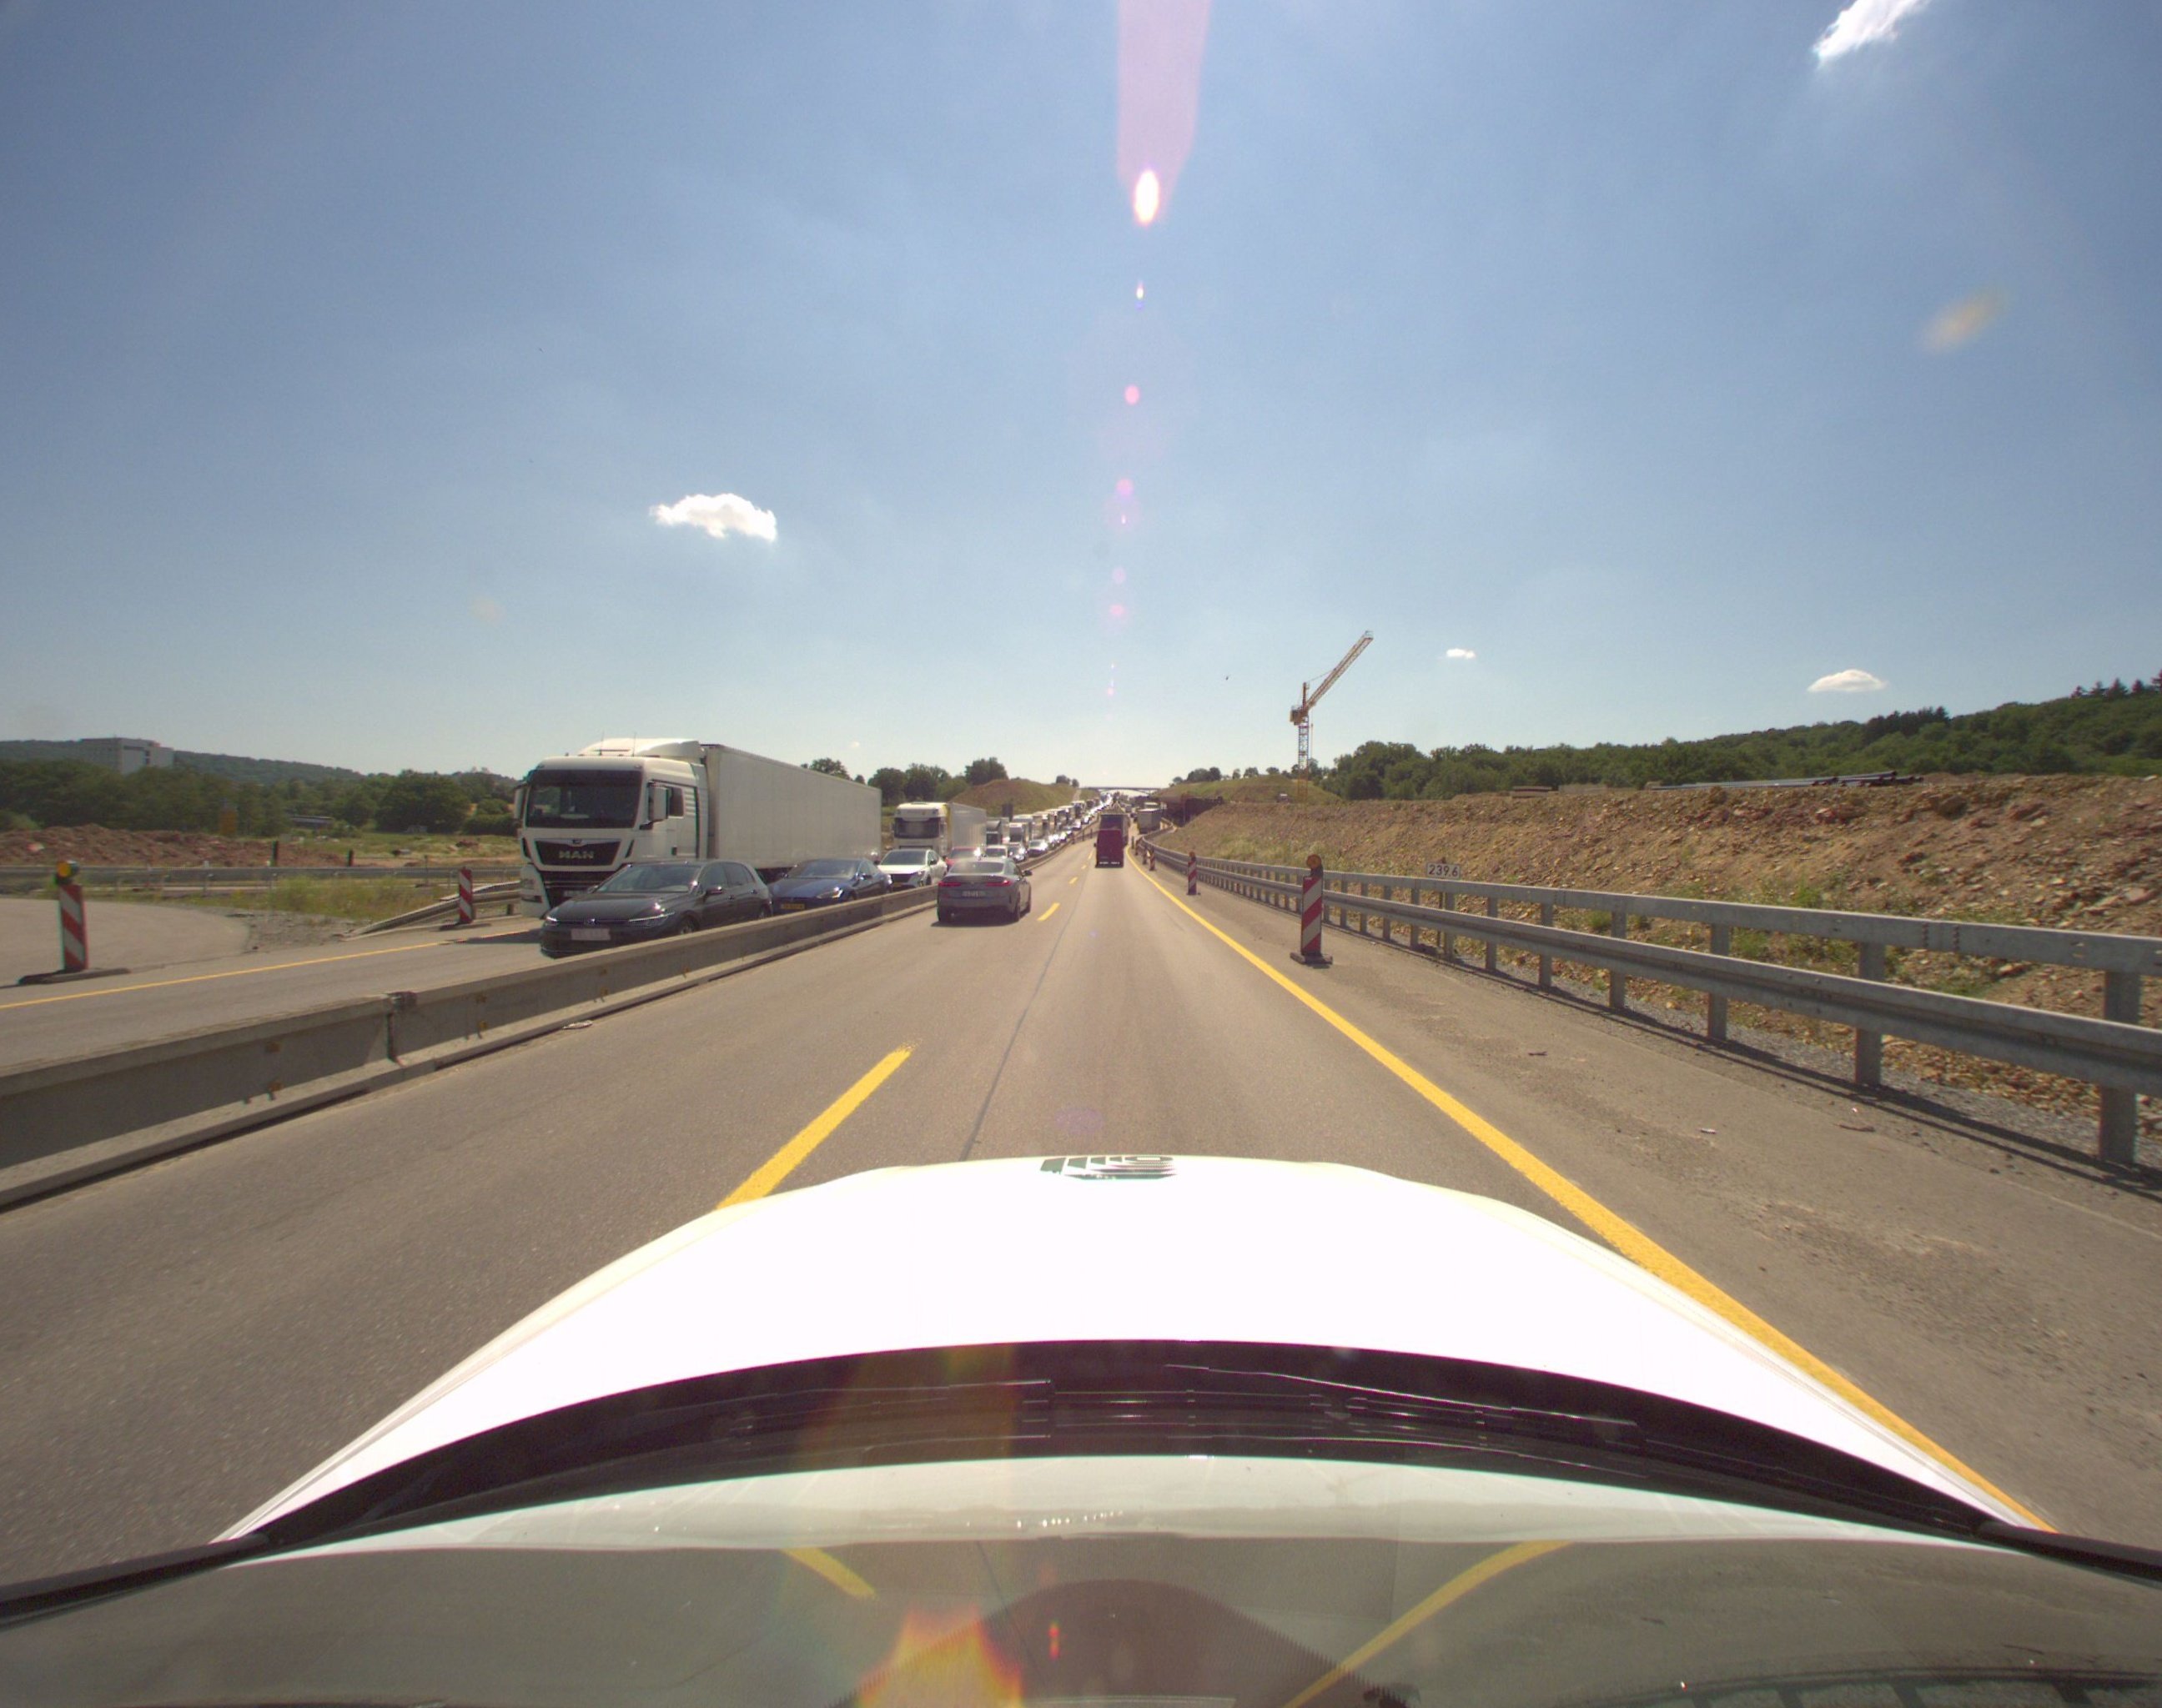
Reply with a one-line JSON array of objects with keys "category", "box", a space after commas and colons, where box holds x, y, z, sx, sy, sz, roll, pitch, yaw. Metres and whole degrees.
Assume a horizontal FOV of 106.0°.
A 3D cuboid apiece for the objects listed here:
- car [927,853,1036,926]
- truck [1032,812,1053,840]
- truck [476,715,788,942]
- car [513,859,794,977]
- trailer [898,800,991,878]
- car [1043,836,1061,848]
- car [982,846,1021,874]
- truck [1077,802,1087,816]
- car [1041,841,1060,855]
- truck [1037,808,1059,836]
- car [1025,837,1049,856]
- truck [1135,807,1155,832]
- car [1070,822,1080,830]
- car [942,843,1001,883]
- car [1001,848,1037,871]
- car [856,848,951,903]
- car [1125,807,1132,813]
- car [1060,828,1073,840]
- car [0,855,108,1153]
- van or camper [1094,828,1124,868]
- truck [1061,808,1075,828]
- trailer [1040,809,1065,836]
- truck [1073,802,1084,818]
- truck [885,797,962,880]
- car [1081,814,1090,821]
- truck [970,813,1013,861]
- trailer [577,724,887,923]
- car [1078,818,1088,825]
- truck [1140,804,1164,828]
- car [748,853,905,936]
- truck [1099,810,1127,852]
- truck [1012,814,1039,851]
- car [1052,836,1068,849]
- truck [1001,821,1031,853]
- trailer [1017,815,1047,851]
[{"category": "car", "box": [-2.210, 0.741, 19.399, 1.844, 1.452, 4.745, 0, 1, 2]}, {"category": "truck", "box": [-5.702, -4.081, 120.363, 2.773, 3.869, 5.461, 0, 0, 0]}, {"category": "truck", "box": [-9.537, -0.535, 18.447, 3.085, 4.197, 6.706, 0, 1, 2]}, {"category": "car", "box": [-6.239, 0.830, 12.654, 1.826, 1.423, 4.684, 0, 0, 1]}, {"category": "trailer", "box": [-8.156, -0.924, 50.949, 2.974, 4.208, 13.953, 0, 1, 2]}, {"category": "car", "box": [-3.672, -1.514, 104.279, 1.895, 1.376, 4.549, -3, 2, 2]}, {"category": "car", "box": [-4.688, 0.322, 48.397, 1.820, 1.574, 4.001, 0, 0, 1]}, {"category": "truck", "box": [0.369, -13.696, 249.088, 2.878, 3.838, 8.002, 0, 1, 0]}, {"category": "car", "box": [-3.450, -0.693, 93.476, 1.820, 1.535, 4.548, 1, 0, 1]}, {"category": "truck", "box": [-5.457, -5.375, 136.545, 3.038, 4.480, 5.988, 0, 2, 4]}, {"category": "car", "box": [-4.088, -0.668, 76.854, 1.820, 1.651, 4.548, -4, 0, 1]}, {"category": "truck", "box": [11.215, -5.980, 142.017, 3.022, 4.100, 7.100, -1, 0, 7]}, {"category": "car", "box": [-1.109, -5.184, 152.491, 1.740, 1.409, 4.002, 0, 2, 2]}, {"category": "car", "box": [-4.944, 0.359, 37.412, 1.987, 1.631, 4.759, 1, 2, 1]}, {"category": "car", "box": [-4.388, 0.339, 58.303, 1.985, 1.557, 4.341, -1, 0, 2]}, {"category": "car", "box": [-5.727, 0.631, 26.963, 1.987, 1.620, 4.882, -1, 0, 1]}, {"category": "car", "box": [14.784, -13.804, 254.841, 1.945, 1.641, 4.269, -1, 0, 2]}, {"category": "car", "box": [-2.232, -3.102, 127.476, 1.987, 1.782, 4.001, 0, 1, 1]}, {"category": "car", "box": [-6.231, 0.762, 1.818, 1.911, 1.423, 5.093, 1, 1, 2]}, {"category": "van or camper", "box": [1.963, -0.485, 58.387, 2.022, 2.744, 4.516, 0, 2, 0]}, {"category": "truck", "box": [-2.597, -7.213, 163.208, 2.674, 3.838, 7.386, 0, 1, 0]}, {"category": "trailer", "box": [-4.873, -5.535, 143.243, 3.028, 4.551, 12.144, 0, 2, 4]}, {"category": "truck", "box": [-0.681, -11.515, 213.388, 2.878, 3.838, 8.002, 0, 1, 0]}, {"category": "truck", "box": [-8.391, -0.845, 44.191, 2.967, 4.184, 5.875, 0, 1, 0]}, {"category": "car", "box": [1.118, -8.866, 198.289, 1.945, 1.530, 4.270, 0, 2, 2]}, {"category": "truck", "box": [-7.522, -1.449, 69.493, 2.516, 3.855, 8.674, 0, 1, 1]}, {"category": "trailer", "box": [-9.381, -0.779, 25.033, 3.129, 4.383, 14.083, 0, 1, 1]}, {"category": "car", "box": [0.464, -7.152, 178.006, 1.945, 1.530, 4.270, 0, 2, 2]}, {"category": "truck", "box": [16.580, -8.815, 190.883, 5.136, 4.996, 13.896, -2, 1, 5]}, {"category": "car", "box": [-5.661, 0.808, 18.917, 1.805, 1.437, 5.126, 1, 3, 3]}, {"category": "truck", "box": [3.768, -2.701, 96.762, 3.009, 4.692, 6.937, -2, 2, 2]}, {"category": "truck", "box": [-6.521, -2.560, 96.942, 2.541, 4.230, 6.534, 0, 2, 2]}, {"category": "car", "box": [-2.899, -1.649, 114.283, 1.987, 1.783, 4.000, -1, 0, 1]}, {"category": "truck", "box": [-6.757, -1.844, 85.104, 2.425, 3.147, 7.025, -1, 2, 0]}, {"category": "trailer", "box": [-6.250, -2.726, 104.810, 2.585, 4.256, 12.476, 0, 2, 2]}]
